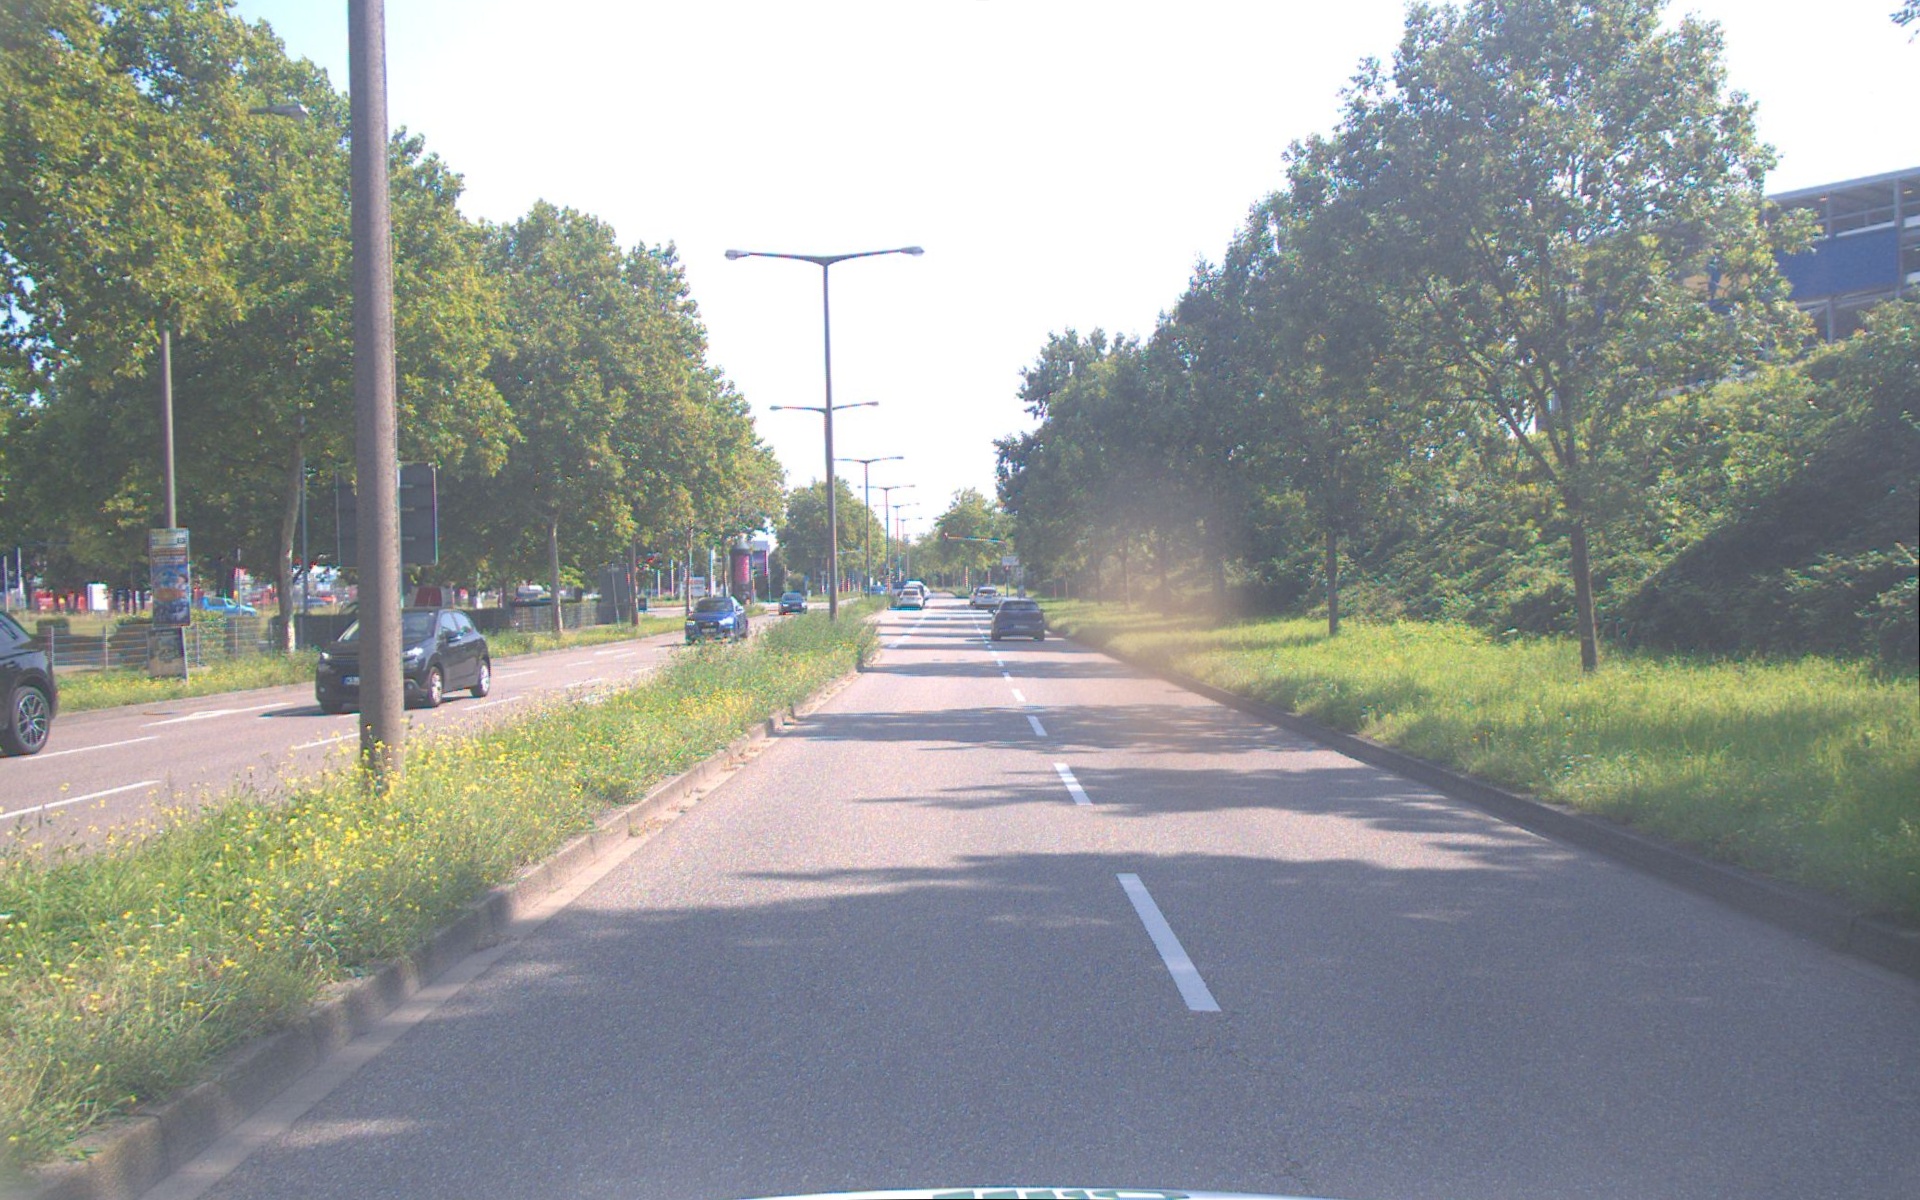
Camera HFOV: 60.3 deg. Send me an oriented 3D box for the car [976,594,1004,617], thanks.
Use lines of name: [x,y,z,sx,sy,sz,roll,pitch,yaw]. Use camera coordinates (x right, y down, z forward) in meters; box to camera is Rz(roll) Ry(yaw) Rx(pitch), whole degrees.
car: [2.212,0.423,124.540,1.953,1.683,3.999,-2,0,-1]

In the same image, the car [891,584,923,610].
car: [-3.765,-0.213,118.430,1.952,1.731,4.001,-2,0,2]

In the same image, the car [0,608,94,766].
car: [-10.862,0.951,16.502,1.807,1.633,4.612,-4,-1,2]

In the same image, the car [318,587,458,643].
car: [-25.673,0.668,74.384,5.471,2.377,2.278,0,2,-2]

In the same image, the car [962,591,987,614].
car: [1.199,0.167,140.502,1.953,1.682,4.000,-1,3,-2]

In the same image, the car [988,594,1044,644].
car: [1.899,0.620,56.865,1.744,1.452,4.001,0,3,0]

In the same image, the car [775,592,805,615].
car: [-11.840,0.259,115.252,1.759,1.441,4.407,-3,0,-3]

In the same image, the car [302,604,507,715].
car: [-8.481,0.852,25.646,1.670,1.516,4.312,-1,0,0]

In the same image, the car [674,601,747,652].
car: [-8.672,0.903,57.775,1.954,1.612,4.344,-3,0,-2]
